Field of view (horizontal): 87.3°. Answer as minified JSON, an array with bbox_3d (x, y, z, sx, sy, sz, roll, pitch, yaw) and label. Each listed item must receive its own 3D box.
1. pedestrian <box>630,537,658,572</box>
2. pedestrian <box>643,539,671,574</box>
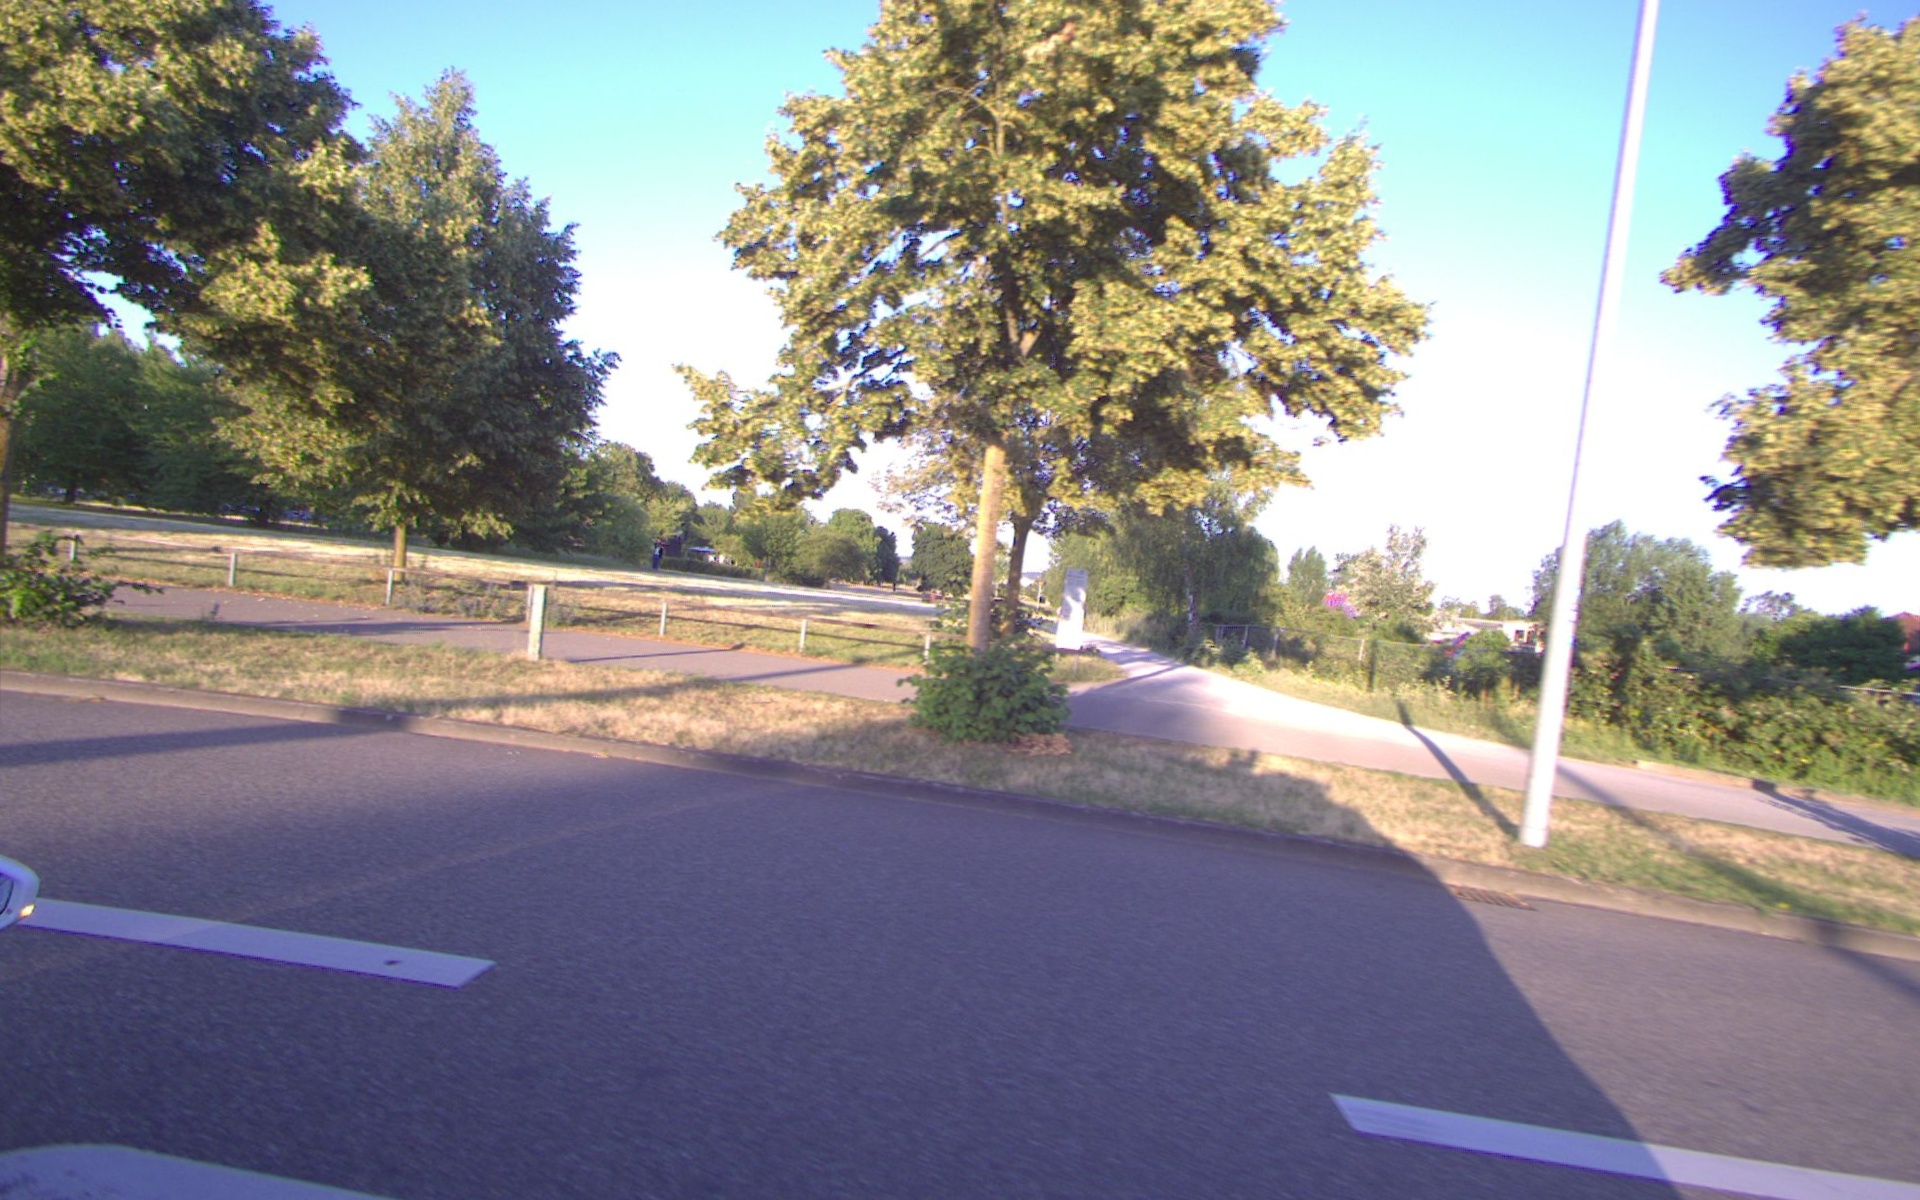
[{"bbox_3d":[-18.757,-2.697,59.734,0.894,1.887,1.104,7,1,18],"label":"pedestrian"},{"bbox_3d":[-17.773,-2.558,58.965,0.894,1.887,1.104,7,1,18],"label":"pedestrian"}]
